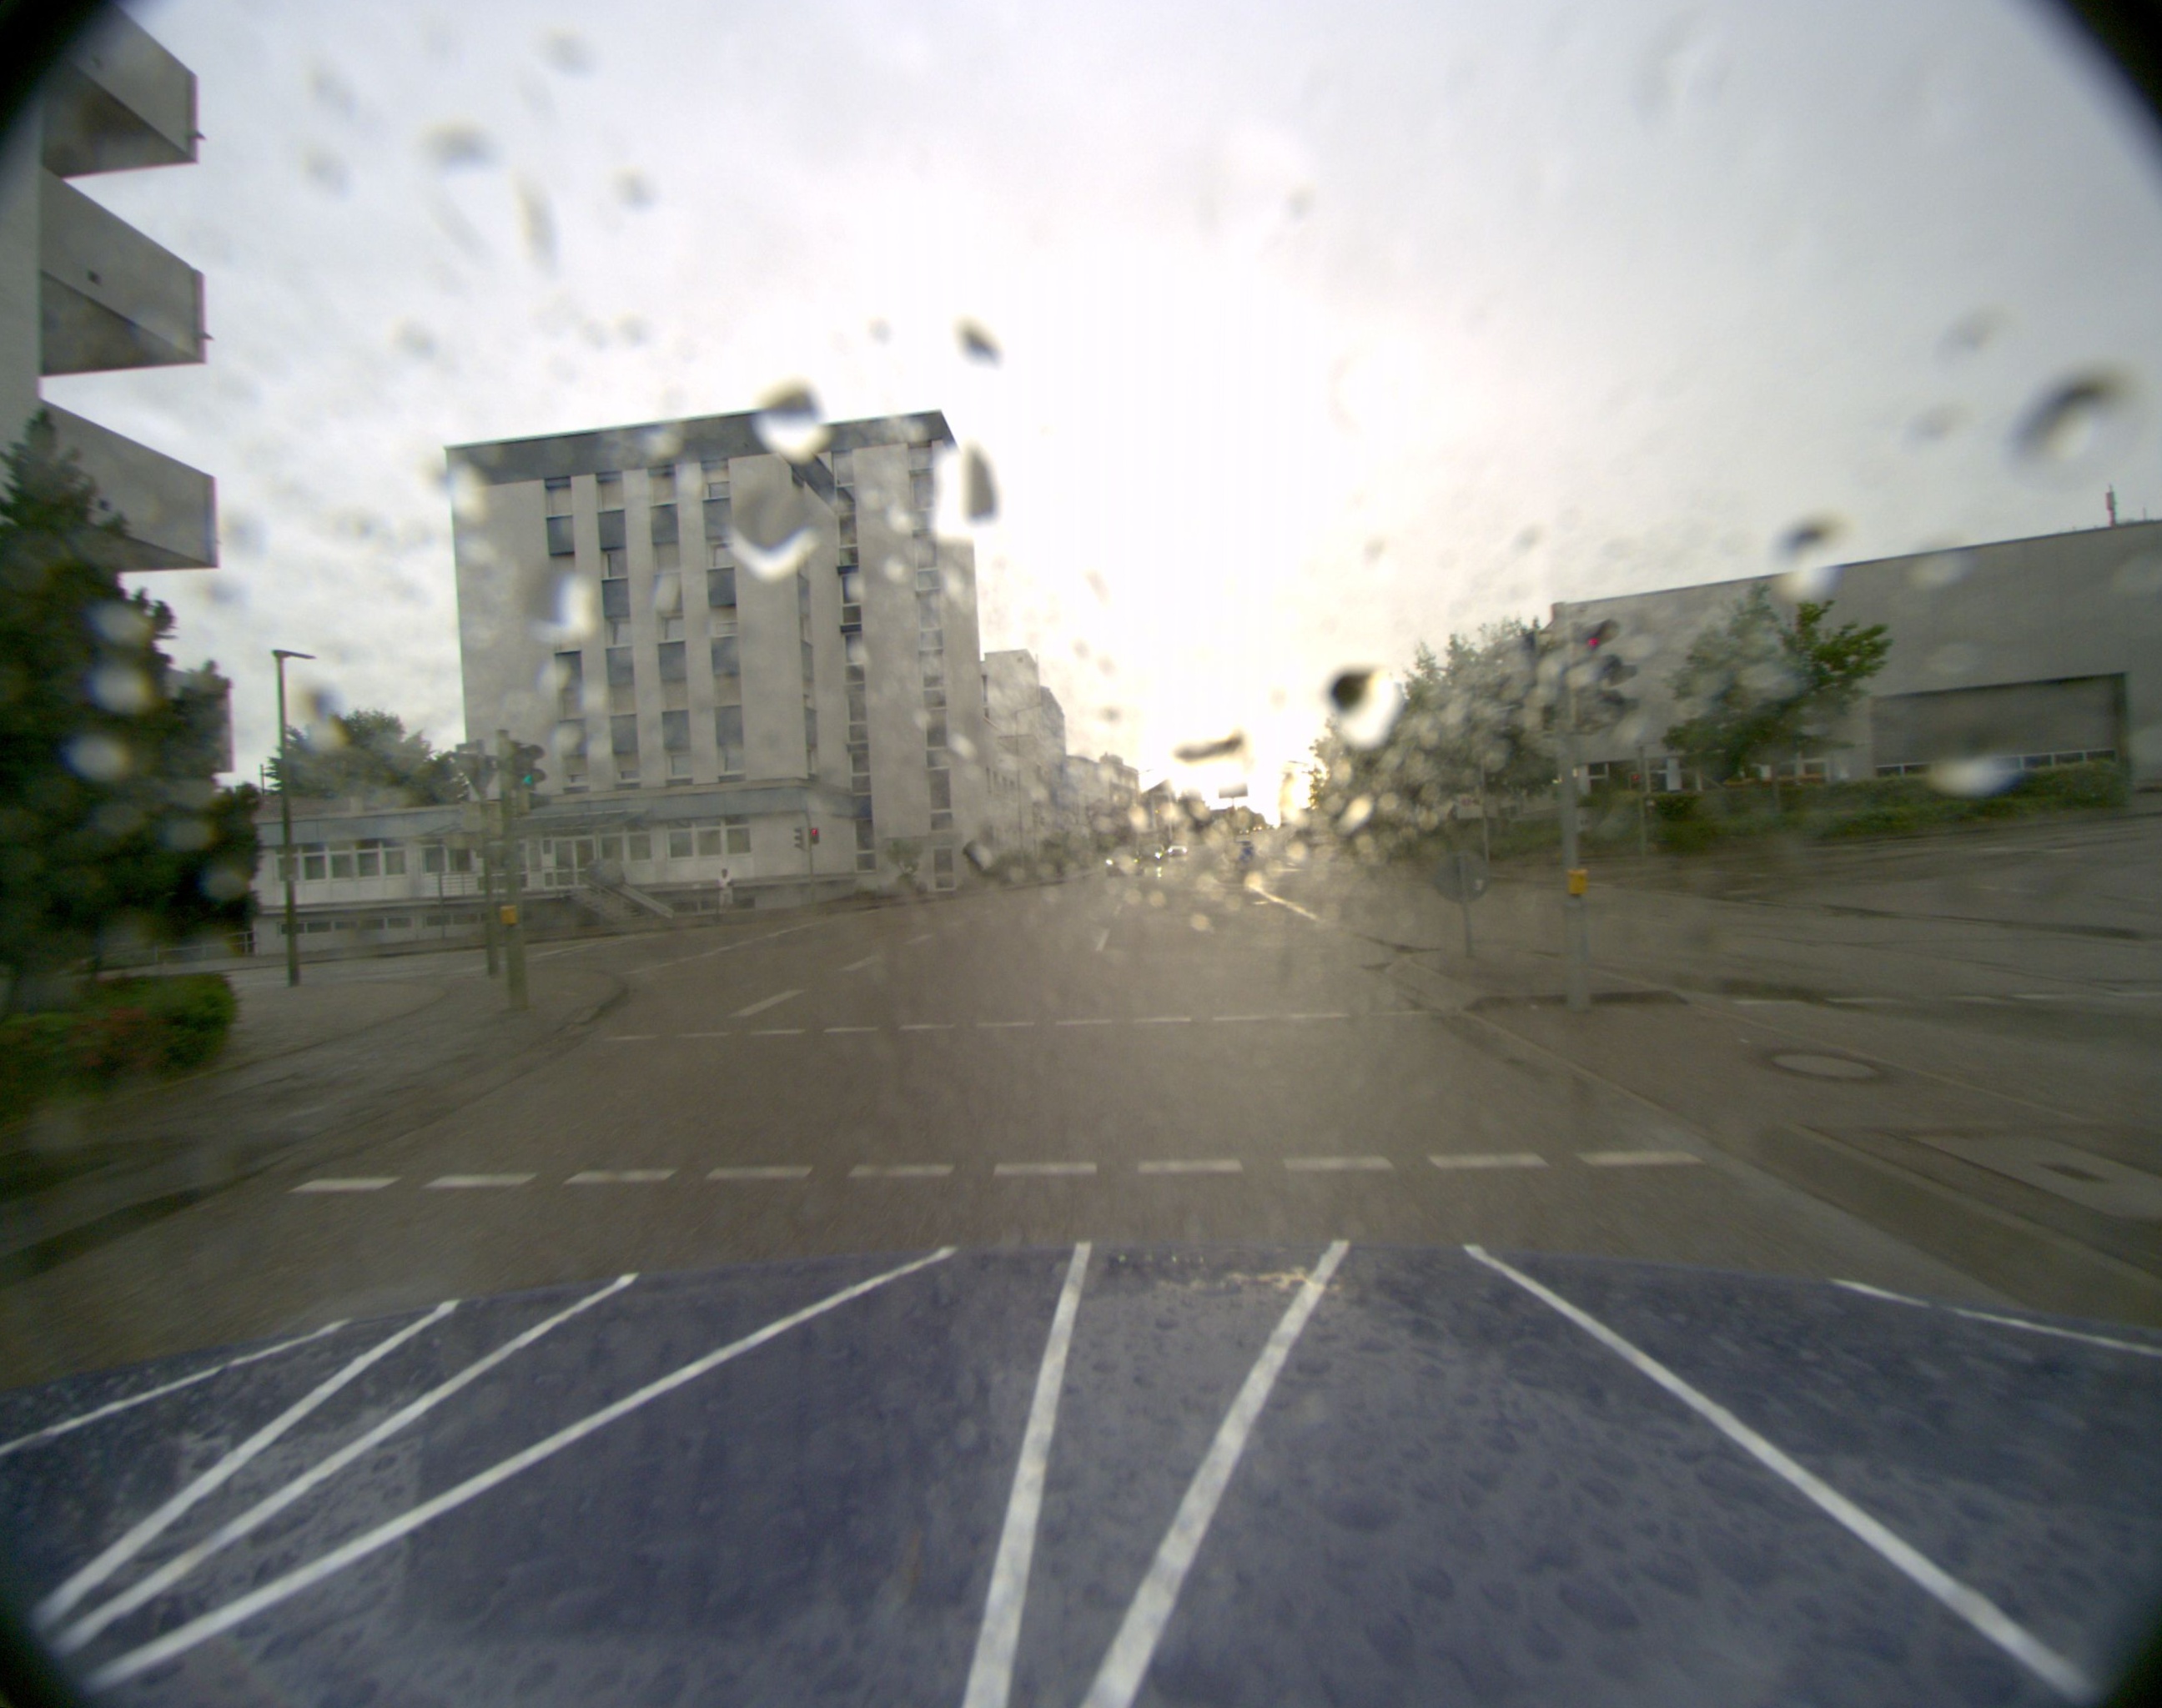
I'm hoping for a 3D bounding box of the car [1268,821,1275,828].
[{"bbox_3d":[51.817,-8.030,206.391,1.827,1.677,4.004,-3,1,14],"label":"car"}]

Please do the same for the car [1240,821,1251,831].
[{"bbox_3d":[35.894,-6.173,165.844,1.997,2.002,4.003,-7,0,14],"label":"car"}]

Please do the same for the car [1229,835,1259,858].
[{"bbox_3d":[12.435,-0.585,58.113,1.692,1.546,3.908,-5,1,6],"label":"car"}]

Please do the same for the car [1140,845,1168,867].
[{"bbox_3d":[5.474,0.128,56.735,1.752,1.470,4.002,-4,1,9],"label":"car"}]

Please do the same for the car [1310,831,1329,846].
[{"bbox_3d":[25.798,-1.688,82.216,1.734,1.470,4.025,-4,0,19],"label":"car"}]

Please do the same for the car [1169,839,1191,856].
[{"bbox_3d":[10.246,-0.672,78.241,1.897,1.535,4.023,-4,0,11],"label":"car"}]

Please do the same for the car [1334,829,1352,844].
[{"bbox_3d":[28.219,-1.904,81.954,1.734,1.470,4.025,-4,0,19],"label":"car"}]

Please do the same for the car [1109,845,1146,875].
[{"bbox_3d":[2.669,0.301,42.686,1.740,1.477,4.151,-3,0,7],"label":"car"}]

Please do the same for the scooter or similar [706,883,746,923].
[{"bbox_3d":[-12.348,1.695,26.444,0.801,1.220,1.061,-7,1,-5],"label":"scooter or similar"}]

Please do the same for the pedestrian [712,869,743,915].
[{"bbox_3d":[-13.393,1.421,28.783,0.645,1.642,0.656,-7,1,4],"label":"pedestrian"}]
